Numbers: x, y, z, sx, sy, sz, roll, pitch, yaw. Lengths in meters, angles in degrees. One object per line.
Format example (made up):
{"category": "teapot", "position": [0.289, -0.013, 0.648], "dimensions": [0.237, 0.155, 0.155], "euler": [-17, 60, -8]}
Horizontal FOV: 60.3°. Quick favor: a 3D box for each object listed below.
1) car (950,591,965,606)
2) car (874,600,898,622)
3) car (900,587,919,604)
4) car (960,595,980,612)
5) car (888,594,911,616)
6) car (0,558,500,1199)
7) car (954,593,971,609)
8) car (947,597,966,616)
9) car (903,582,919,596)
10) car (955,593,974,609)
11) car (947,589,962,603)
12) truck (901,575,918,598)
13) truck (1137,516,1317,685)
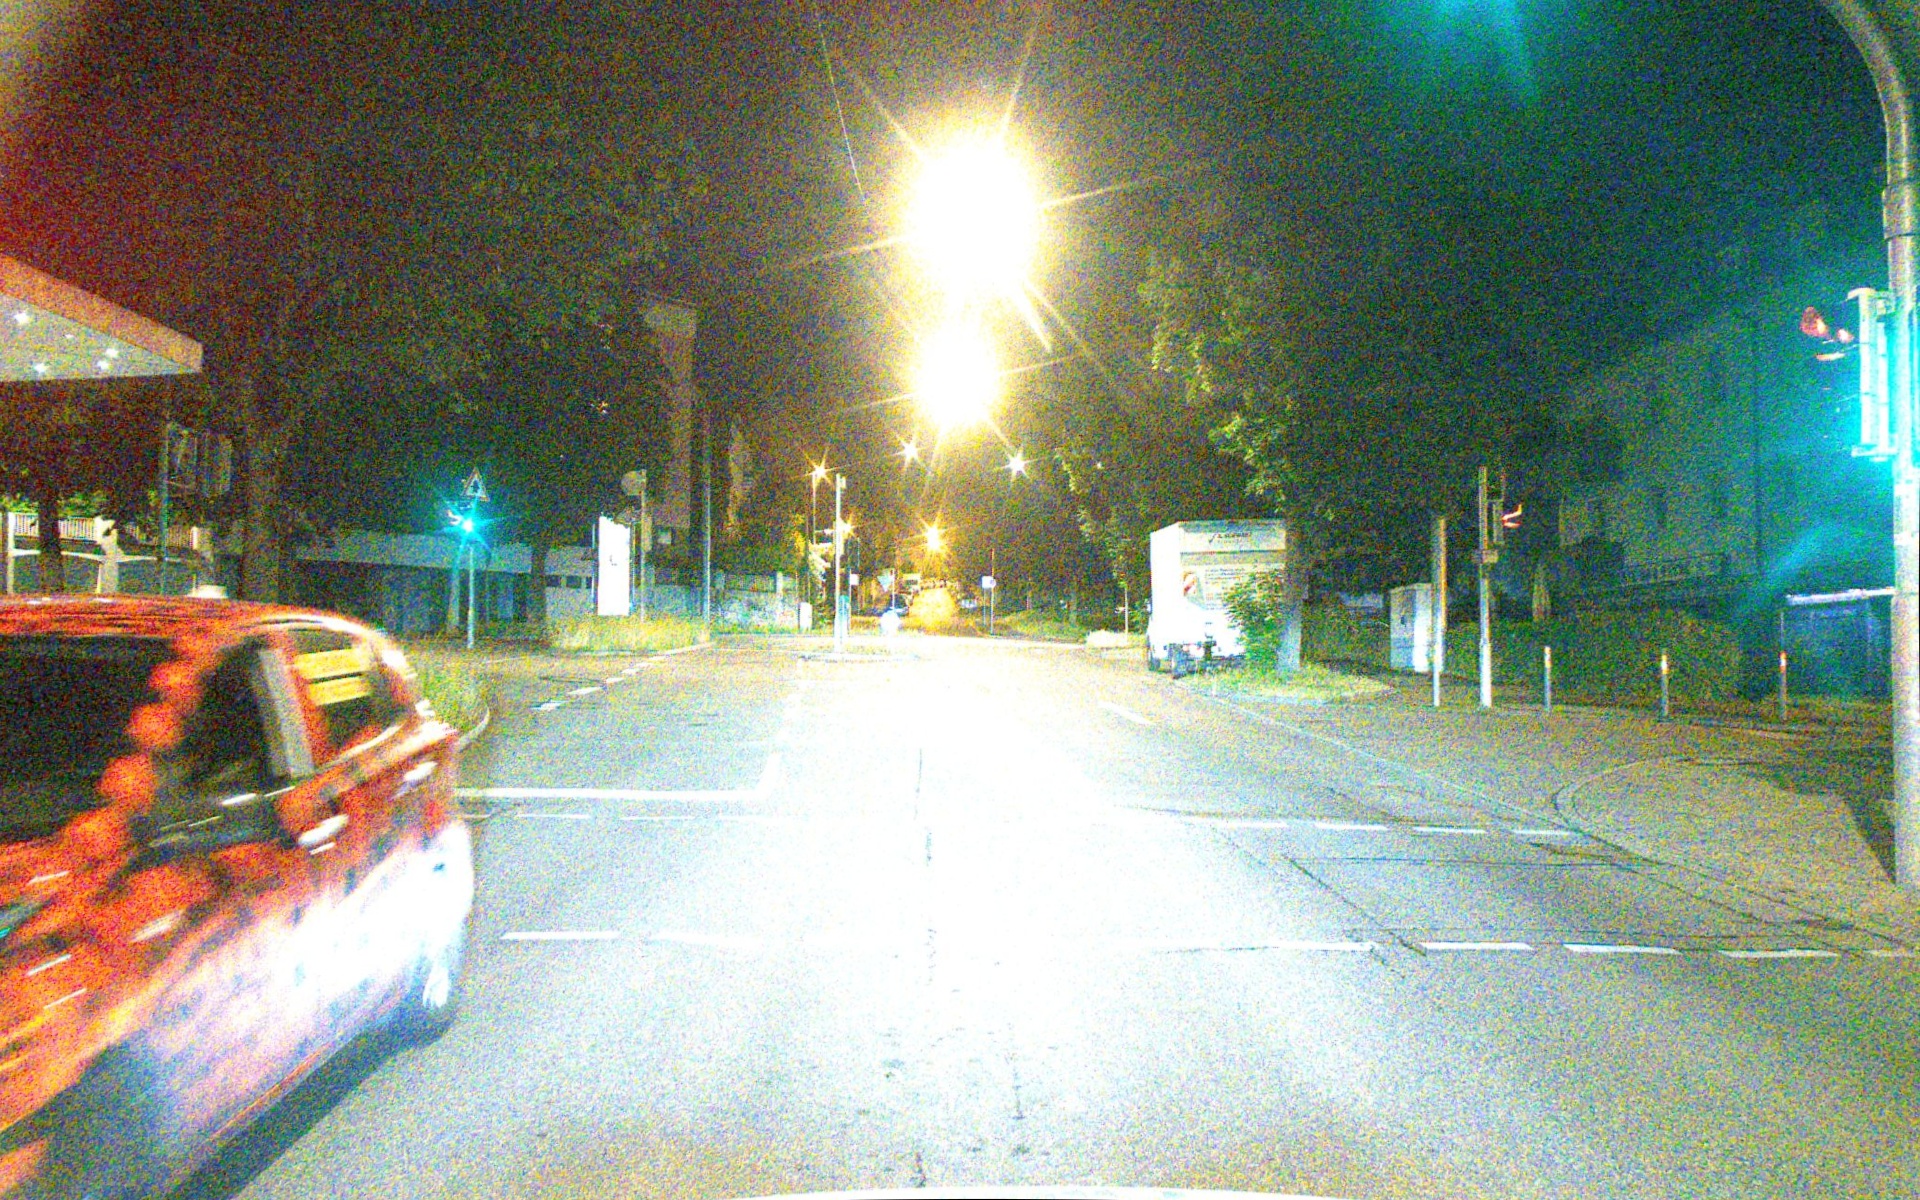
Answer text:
{"category": "car", "position": [-0.270, -0.169, 178.506], "dimensions": [1.601, 1.477, 3.484], "euler": [1, 0, -1]}
{"category": "car", "position": [-5.268, 0.758, 118.125], "dimensions": [1.601, 1.477, 3.484], "euler": [1, 0, -1]}
{"category": "car", "position": [-4.884, -0.434, 160.491], "dimensions": [1.779, 1.517, 3.998], "euler": [1, 0, -2]}
{"category": "car", "position": [0.872, 0.293, 143.361], "dimensions": [1.601, 1.477, 3.484], "euler": [1, 0, -1]}
{"category": "car", "position": [-4.902, 0.369, 134.358], "dimensions": [1.778, 1.713, 3.999], "euler": [1, 0, -1]}
{"category": "car", "position": [-2.384, 0.678, 4.225], "dimensions": [1.550, 1.528, 3.394], "euler": [1, 0, -2]}
{"category": "car", "position": [0.255, 0.103, 159.272], "dimensions": [1.601, 1.477, 3.484], "euler": [1, 0, -1]}
{"category": "car", "position": [-0.303, 0.520, 137.703], "dimensions": [1.561, 1.502, 3.653], "euler": [1, 0, -1]}
{"category": "car", "position": [-5.539, -1.202, 186.875], "dimensions": [1.779, 1.517, 3.998], "euler": [1, 0, -2]}
{"category": "car", "position": [0.410, 0.067, 153.090], "dimensions": [1.601, 1.477, 3.484], "euler": [1, 0, -1]}
{"category": "car", "position": [-0.663, -0.454, 191.473], "dimensions": [1.601, 1.477, 3.484], "euler": [1, 0, -1]}
{"category": "truck", "position": [-6.442, -1.703, 209.500], "dimensions": [2.044, 2.897, 5.828], "euler": [1, 0, -2]}
{"category": "truck", "position": [5.427, 0.007, 34.713], "dimensions": [2.693, 3.165, 6.257], "euler": [1, 0, 0]}
